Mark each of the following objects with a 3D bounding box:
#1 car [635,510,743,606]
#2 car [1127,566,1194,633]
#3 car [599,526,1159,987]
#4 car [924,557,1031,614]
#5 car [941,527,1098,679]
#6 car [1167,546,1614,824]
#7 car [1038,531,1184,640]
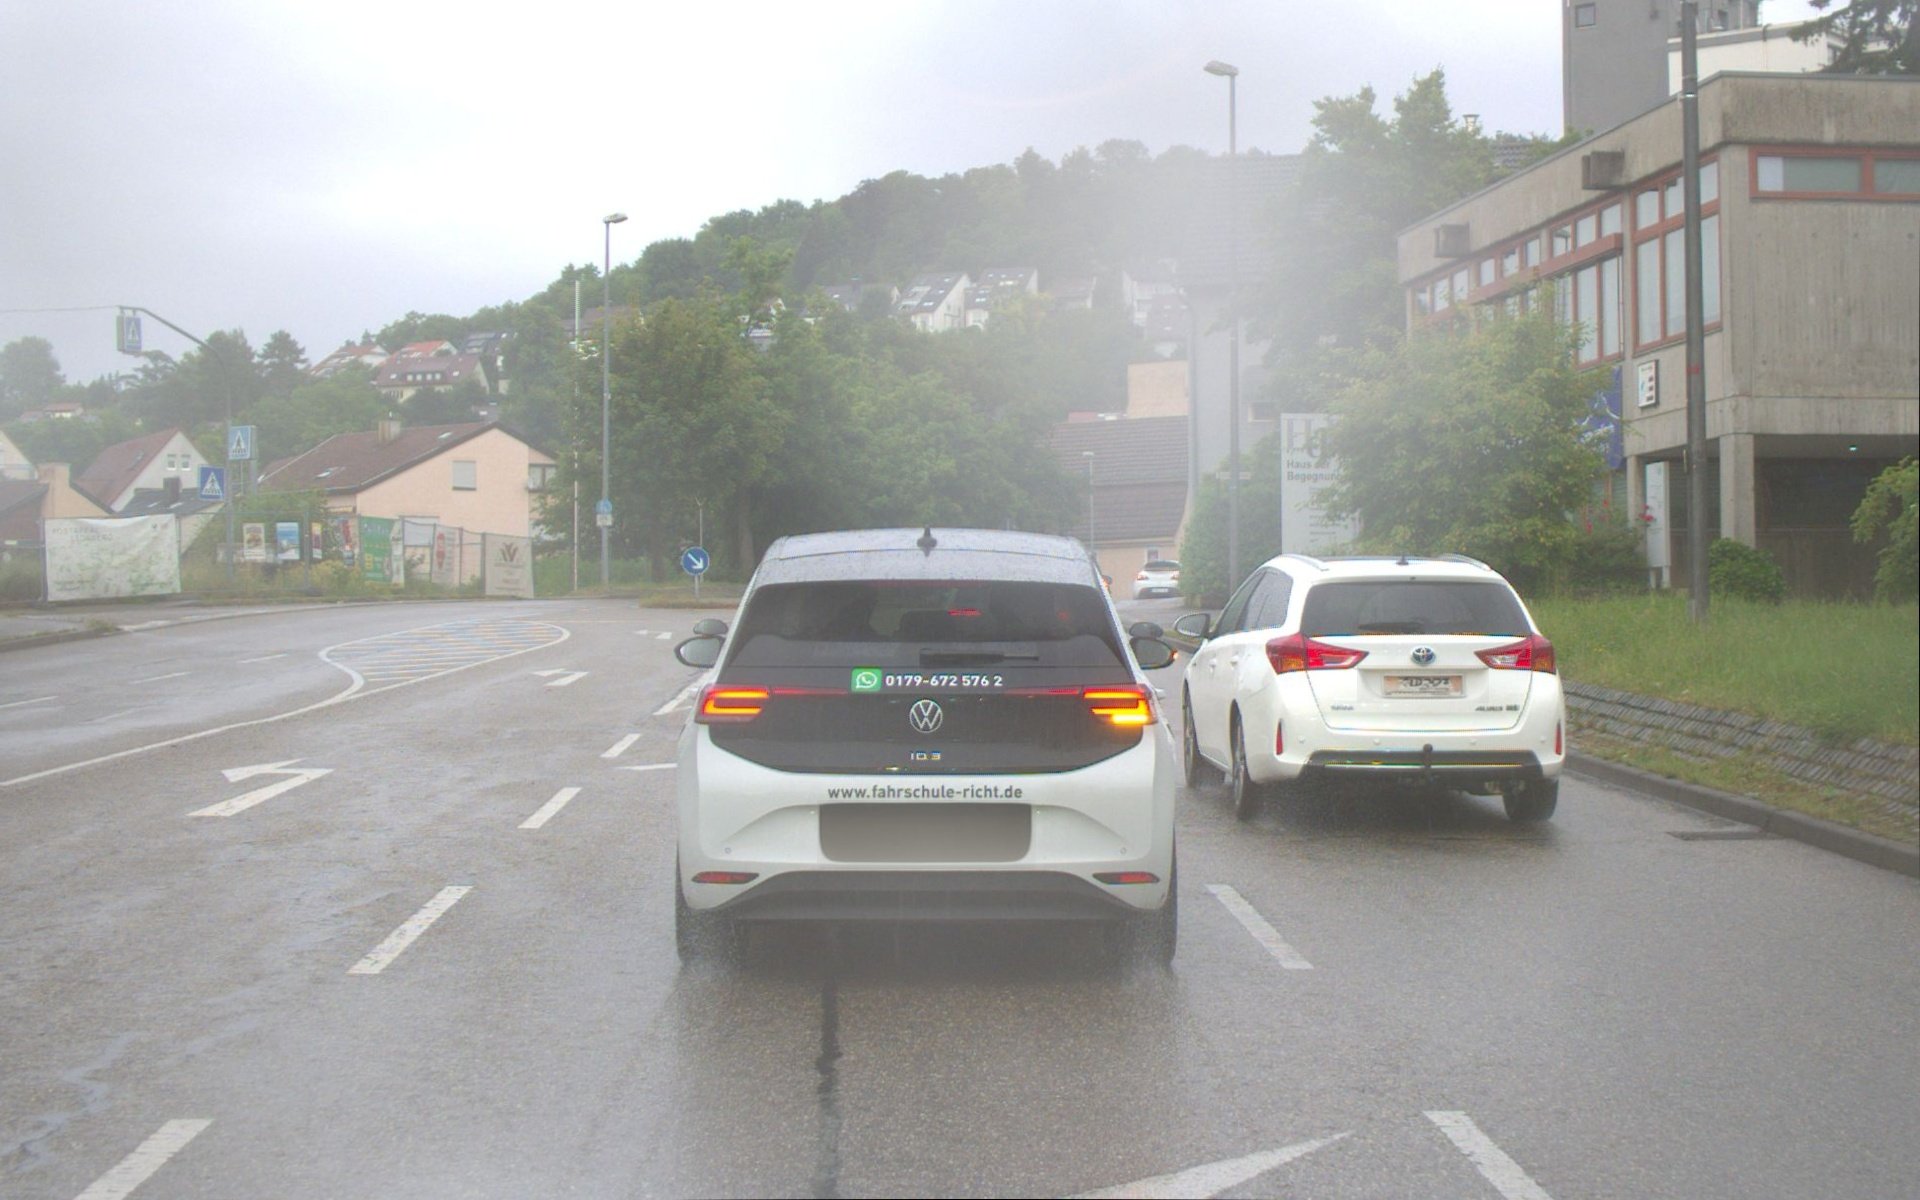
[{"bbox_3d":[-5.913,-0.886,75.329,1.993,2.007,4.000,1,0,0],"label":"car"},{"bbox_3d":[6.261,-0.013,107.651,1.994,2.007,4.000,1,0,2],"label":"car"},{"bbox_3d":[-0.186,0.506,13.329,1.829,1.495,4.168,0,0,2],"label":"car"},{"bbox_3d":[0.570,-0.446,107.348,1.995,1.687,4.701,1,0,18],"label":"car"},{"bbox_3d":[0.587,-0.010,36.485,1.567,1.525,4.000,0,1,0],"label":"car"},{"bbox_3d":[2.326,0.431,19.678,1.848,1.405,4.302,0,0,-2],"label":"car"},{"bbox_3d":[2.202,-0.209,50.359,1.994,1.448,3.770,-2,0,2],"label":"car"}]
